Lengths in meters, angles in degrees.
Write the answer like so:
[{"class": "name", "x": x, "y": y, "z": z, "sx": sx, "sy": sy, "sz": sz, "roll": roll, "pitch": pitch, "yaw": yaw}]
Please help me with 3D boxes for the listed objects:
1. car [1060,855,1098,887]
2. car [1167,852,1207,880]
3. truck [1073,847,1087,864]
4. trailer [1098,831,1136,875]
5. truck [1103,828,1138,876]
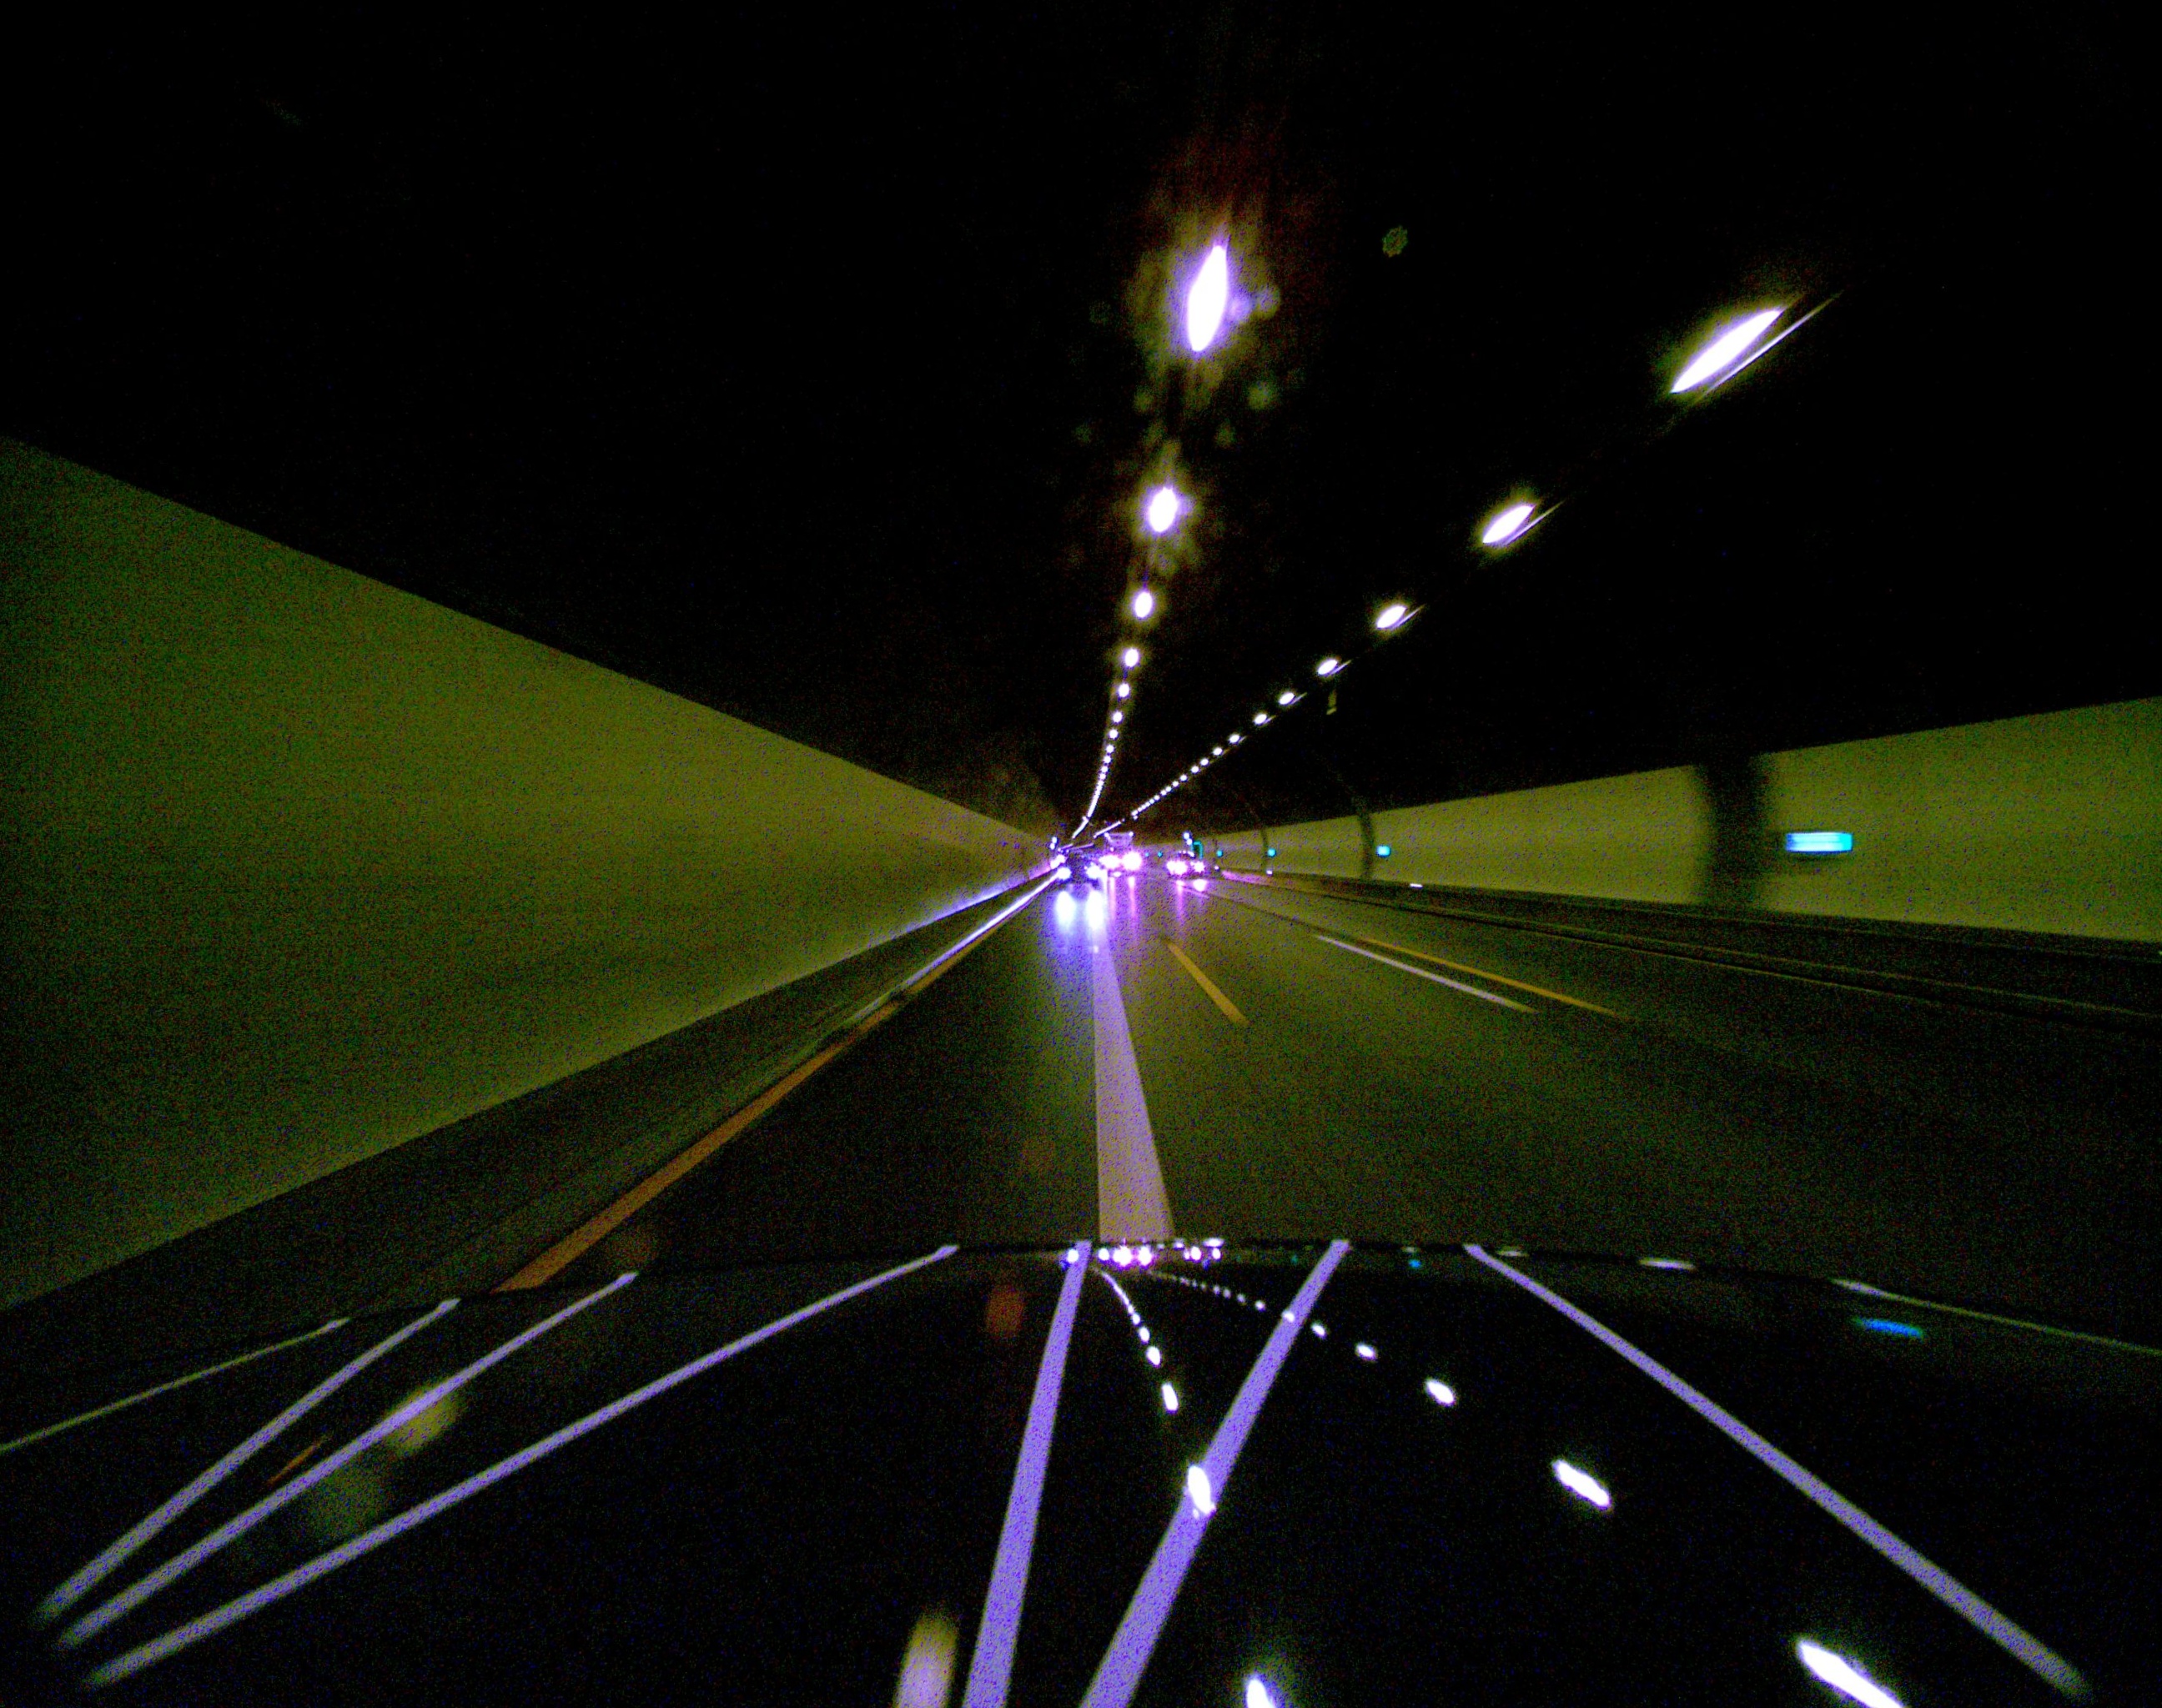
[{"class": "car", "x": -0.065, "y": 0.842, "z": 38.765, "sx": 1.727, "sy": 1.474, "sz": 4.000, "roll": -1, "pitch": 0, "yaw": 2}, {"class": "car", "x": 6.257, "y": 0.679, "z": 45.294, "sx": 1.766, "sy": 1.563, "sz": 4.097, "roll": -2, "pitch": 1, "yaw": 0}, {"class": "truck", "x": -0.099, "y": 0.277, "z": 124.552, "sx": 2.151, "sy": 2.609, "sz": 9.908, "roll": -2, "pitch": -1, "yaw": 0}, {"class": "trailer", "x": 2.886, "y": -0.103, "z": 63.987, "sx": 2.374, "sy": 3.328, "sz": 12.077, "roll": 0, "pitch": 0, "yaw": -1}, {"class": "truck", "x": 2.951, "y": -0.162, "z": 57.464, "sx": 2.374, "sy": 3.328, "sz": 4.719, "roll": -4, "pitch": 0, "yaw": 2}]
